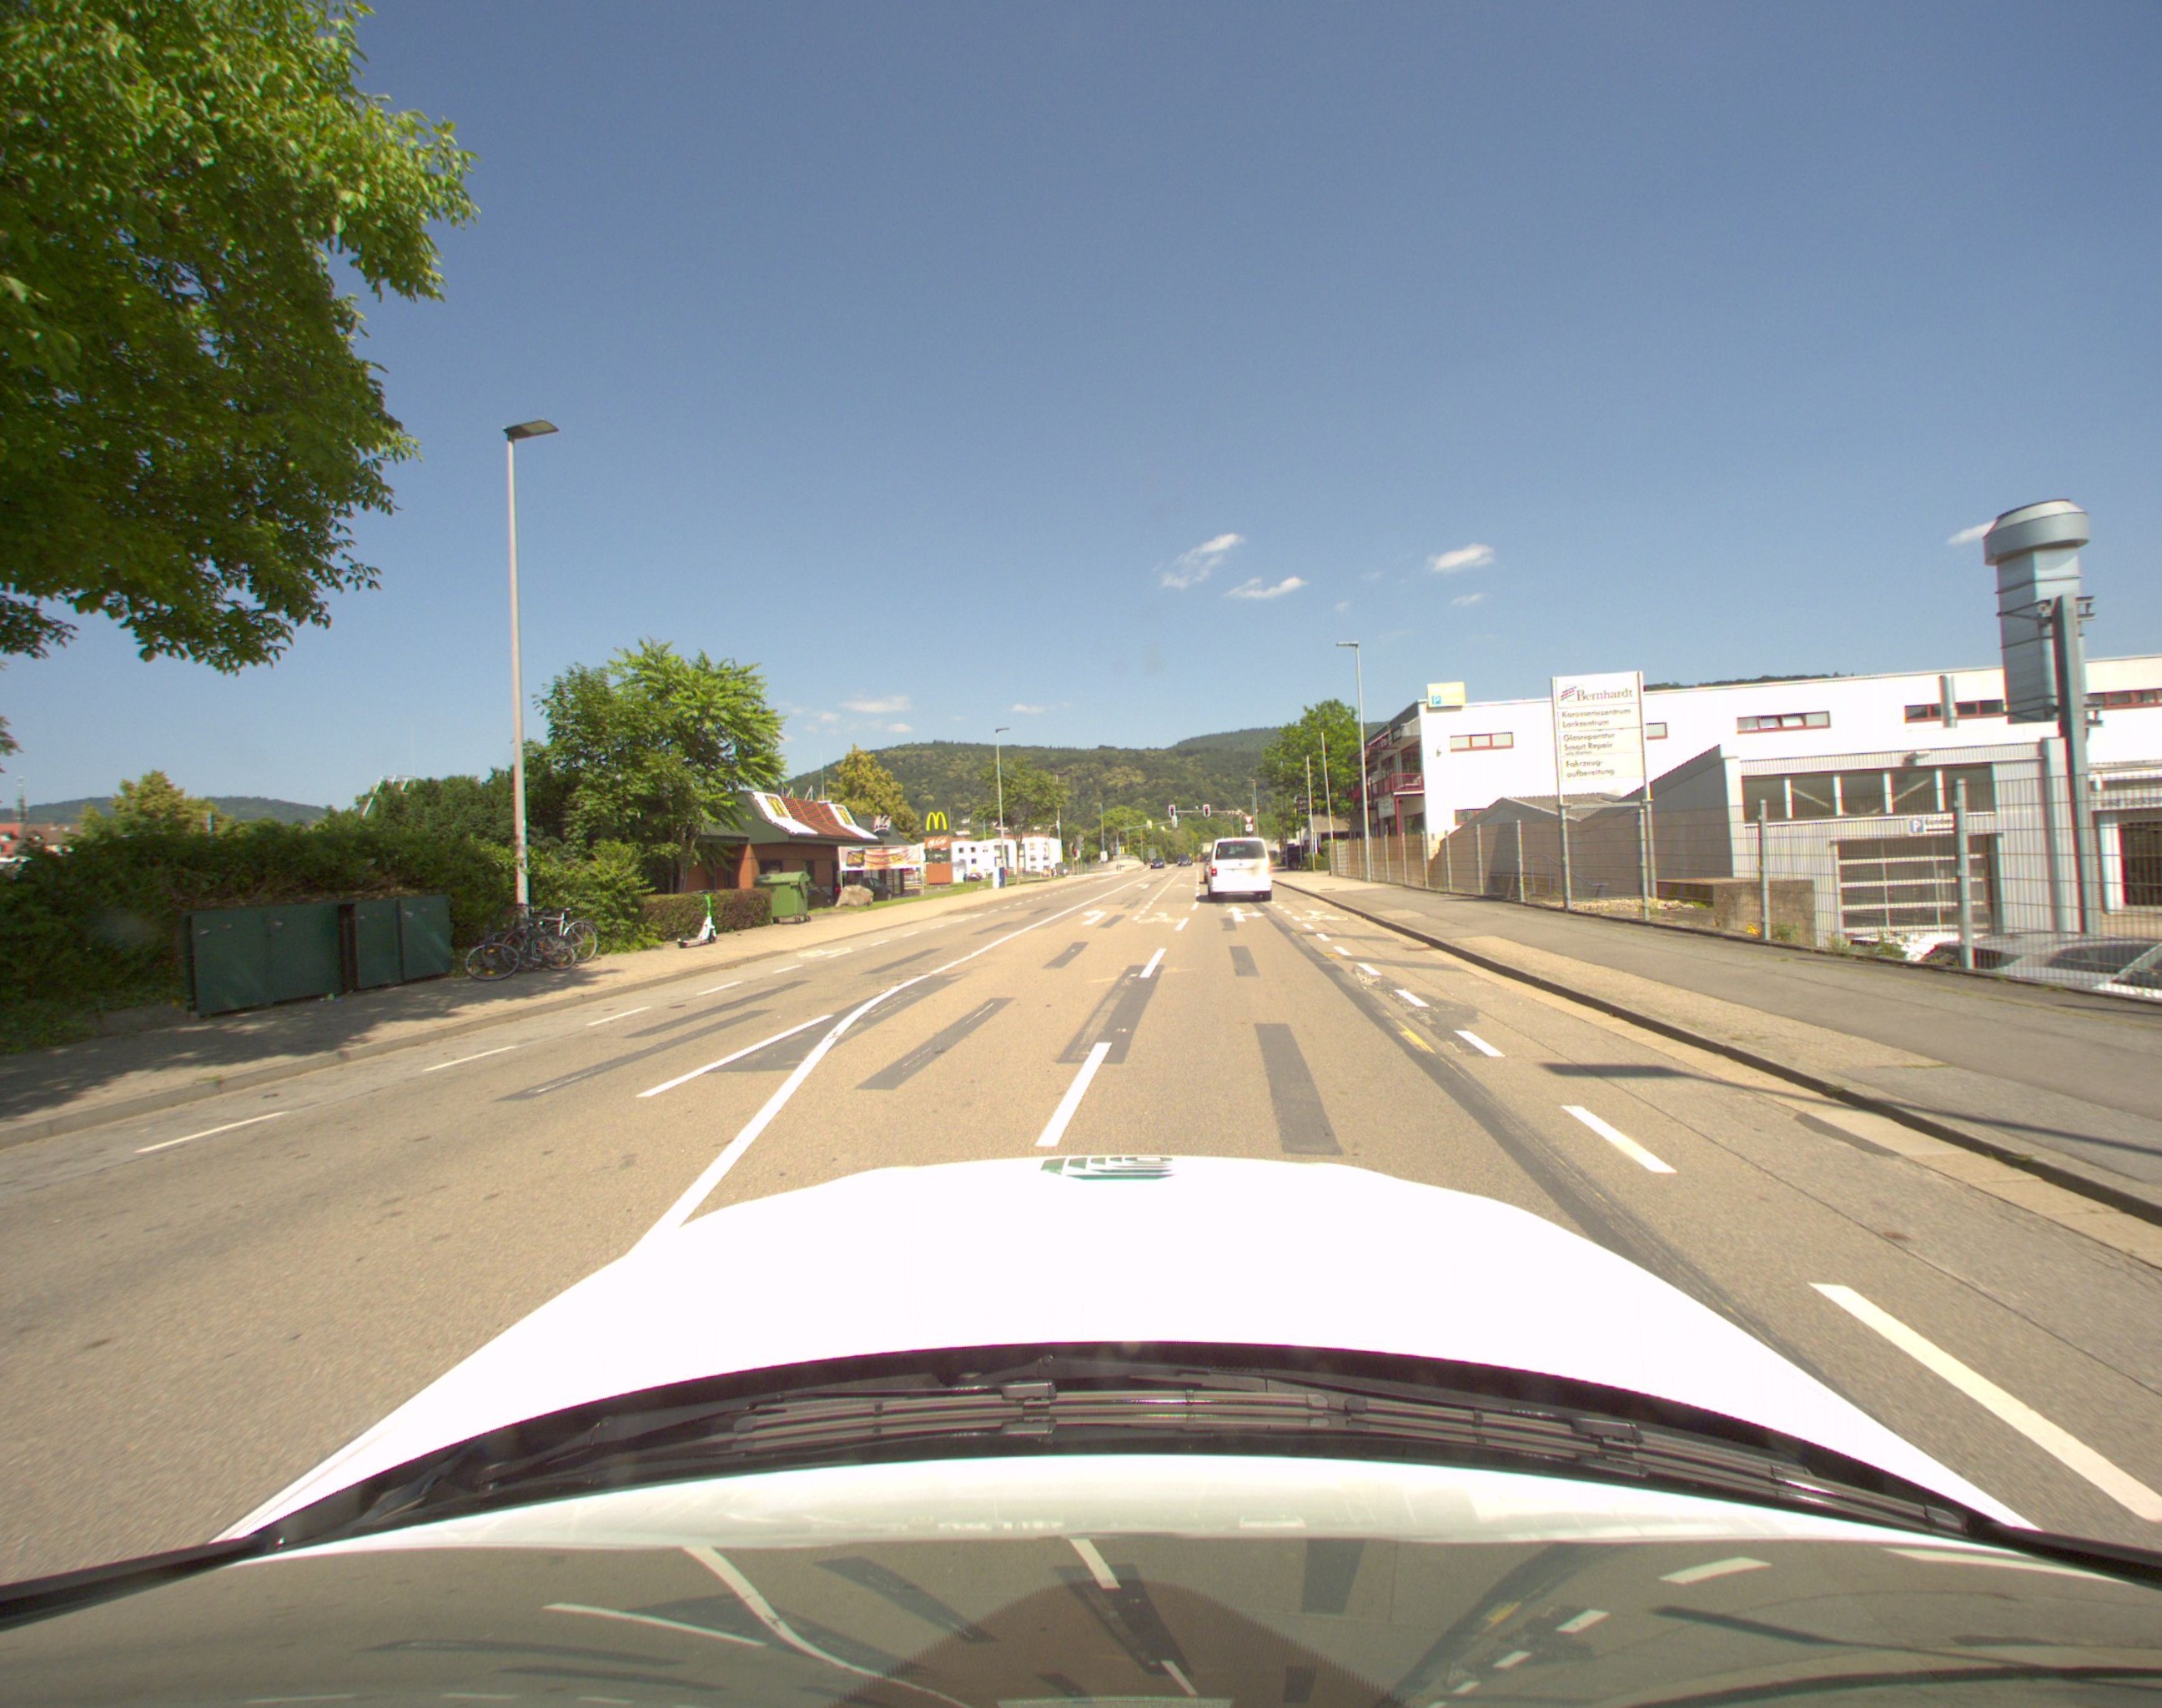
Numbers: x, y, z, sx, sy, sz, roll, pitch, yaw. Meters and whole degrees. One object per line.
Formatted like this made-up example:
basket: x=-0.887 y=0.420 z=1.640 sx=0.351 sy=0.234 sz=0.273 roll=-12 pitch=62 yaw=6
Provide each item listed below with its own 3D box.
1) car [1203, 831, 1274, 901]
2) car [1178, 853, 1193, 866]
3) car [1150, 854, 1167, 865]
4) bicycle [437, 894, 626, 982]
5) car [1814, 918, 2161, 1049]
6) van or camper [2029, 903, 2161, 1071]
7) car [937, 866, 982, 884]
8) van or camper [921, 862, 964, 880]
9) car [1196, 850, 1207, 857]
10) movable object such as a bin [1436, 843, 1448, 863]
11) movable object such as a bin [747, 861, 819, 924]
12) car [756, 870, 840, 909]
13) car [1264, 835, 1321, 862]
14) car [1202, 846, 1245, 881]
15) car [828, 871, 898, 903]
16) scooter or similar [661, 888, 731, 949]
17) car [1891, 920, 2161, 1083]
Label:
car: x=5.032 y=0.335 z=26.483 sx=1.924 sy=2.059 sz=4.553 roll=-1 pitch=1 yaw=7
car: x=14.363 y=0.704 z=111.575 sx=1.839 sy=1.588 sz=4.010 roll=-4 pitch=0 yaw=8
car: x=10.316 y=0.722 z=108.236 sx=1.982 sy=1.370 sz=4.337 roll=-4 pitch=0 yaw=8
bicycle: x=-8.858 y=1.298 z=13.359 sx=1.022 sy=1.118 sz=2.770 roll=0 pitch=1 yaw=5
car: x=15.818 y=2.159 z=14.266 sx=3.956 sy=1.830 sz=2.009 roll=0 pitch=0 yaw=16
van or camper: x=13.668 y=1.401 z=8.808 sx=4.294 sy=1.651 sz=2.023 roll=-2 pitch=0 yaw=3
car: x=-12.416 y=2.134 z=83.501 sx=4.304 sy=1.592 sz=1.999 roll=-4 pitch=0 yaw=-2
van or camper: x=-13.248 y=1.603 z=77.974 sx=3.987 sy=1.574 sz=1.993 roll=-1 pitch=0 yaw=-10
car: x=24.655 y=-0.136 z=166.126 sx=1.984 sy=1.530 sz=4.050 roll=0 pitch=0 yaw=5
movable object such as a bin: x=19.149 y=-0.053 z=43.248 sx=0.410 sy=1.011 sz=0.546 roll=-4 pitch=0 yaw=10
movable object such as a bin: x=-8.349 y=1.056 z=22.872 sx=1.443 sy=1.590 sz=1.307 roll=-4 pitch=0 yaw=-1
car: x=-12.513 y=1.522 z=36.335 sx=1.818 sy=1.476 sz=4.328 roll=-1 pitch=1 yaw=6
car: x=16.003 y=-0.435 z=61.657 sx=3.958 sy=1.775 sz=2.008 roll=-4 pitch=0 yaw=14
car: x=7.218 y=0.437 z=41.679 sx=1.924 sy=1.686 sz=4.553 roll=-1 pitch=0 yaw=7
car: x=-11.441 y=1.705 z=43.014 sx=1.981 sy=1.416 sz=4.141 roll=-1 pitch=1 yaw=10
scooter or similar: x=-8.055 y=1.320 z=17.102 sx=0.644 sy=1.127 sz=1.624 roll=0 pitch=0 yaw=2
car: x=14.776 y=2.060 z=11.849 sx=3.966 sy=2.013 sz=1.855 roll=0 pitch=0 yaw=7
